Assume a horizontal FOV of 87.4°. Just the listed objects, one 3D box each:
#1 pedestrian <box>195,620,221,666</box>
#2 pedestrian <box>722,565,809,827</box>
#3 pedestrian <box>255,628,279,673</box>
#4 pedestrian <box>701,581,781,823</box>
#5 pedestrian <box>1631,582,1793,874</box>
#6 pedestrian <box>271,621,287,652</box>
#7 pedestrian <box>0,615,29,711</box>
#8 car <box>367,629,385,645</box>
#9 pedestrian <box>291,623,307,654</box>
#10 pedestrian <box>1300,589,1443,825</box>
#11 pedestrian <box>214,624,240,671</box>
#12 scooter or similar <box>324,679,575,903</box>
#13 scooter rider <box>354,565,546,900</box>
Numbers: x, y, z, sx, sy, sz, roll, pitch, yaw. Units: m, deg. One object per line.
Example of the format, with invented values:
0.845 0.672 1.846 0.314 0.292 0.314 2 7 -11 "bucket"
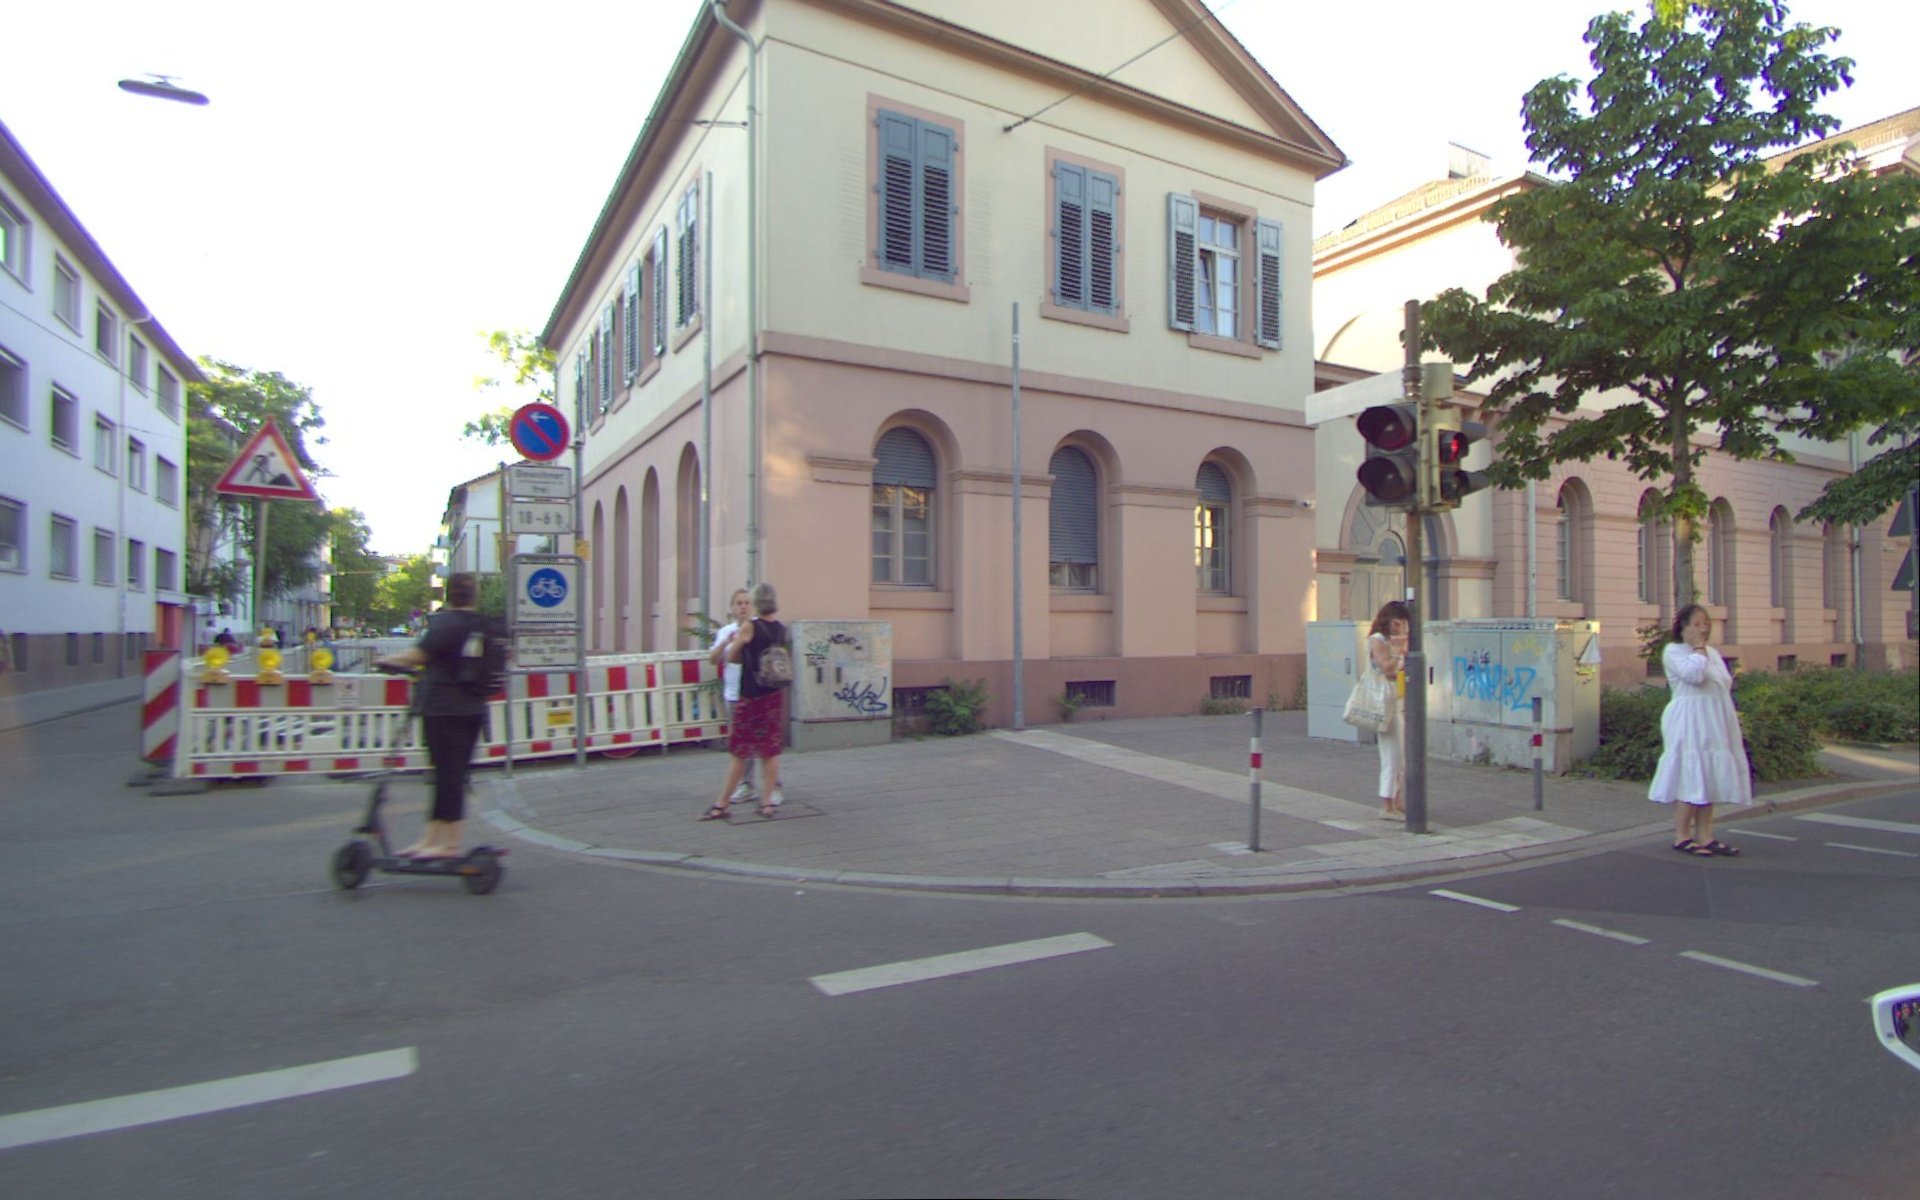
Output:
-28.719 1.647 38.374 0.579 1.734 0.650 5 -4 -30 "pedestrian"
-1.468 0.693 7.548 0.601 1.875 0.554 0 -1 -15 "pedestrian"
-27.388 2.009 39.696 0.579 1.734 0.650 5 -4 -30 "pedestrian"
-1.784 0.798 8.150 0.601 1.875 0.554 0 -1 -16 "pedestrian"
5.348 0.851 7.149 0.787 1.913 0.762 1 -2 -42 "pedestrian"
-38.042 2.036 56.091 0.579 1.734 0.650 5 -4 -30 "pedestrian"
-17.815 1.156 18.603 0.579 1.734 0.650 5 -4 -30 "pedestrian"
-79.113 5.021 136.074 1.977 2.039 3.968 1 -4 -31 "car"
-37.534 2.170 57.057 0.579 1.734 0.650 5 -4 -30 "pedestrian"
3.334 0.825 8.198 0.757 1.815 0.791 0 1 -10 "pedestrian"
-27.903 1.806 38.241 0.579 1.734 0.650 5 -4 -30 "pedestrian"
-2.921 1.055 5.780 1.224 1.160 0.504 0 -2 12 "scooter or similar"
-2.919 0.726 5.783 0.856 1.815 0.496 0 -1 12 "scooter rider"
